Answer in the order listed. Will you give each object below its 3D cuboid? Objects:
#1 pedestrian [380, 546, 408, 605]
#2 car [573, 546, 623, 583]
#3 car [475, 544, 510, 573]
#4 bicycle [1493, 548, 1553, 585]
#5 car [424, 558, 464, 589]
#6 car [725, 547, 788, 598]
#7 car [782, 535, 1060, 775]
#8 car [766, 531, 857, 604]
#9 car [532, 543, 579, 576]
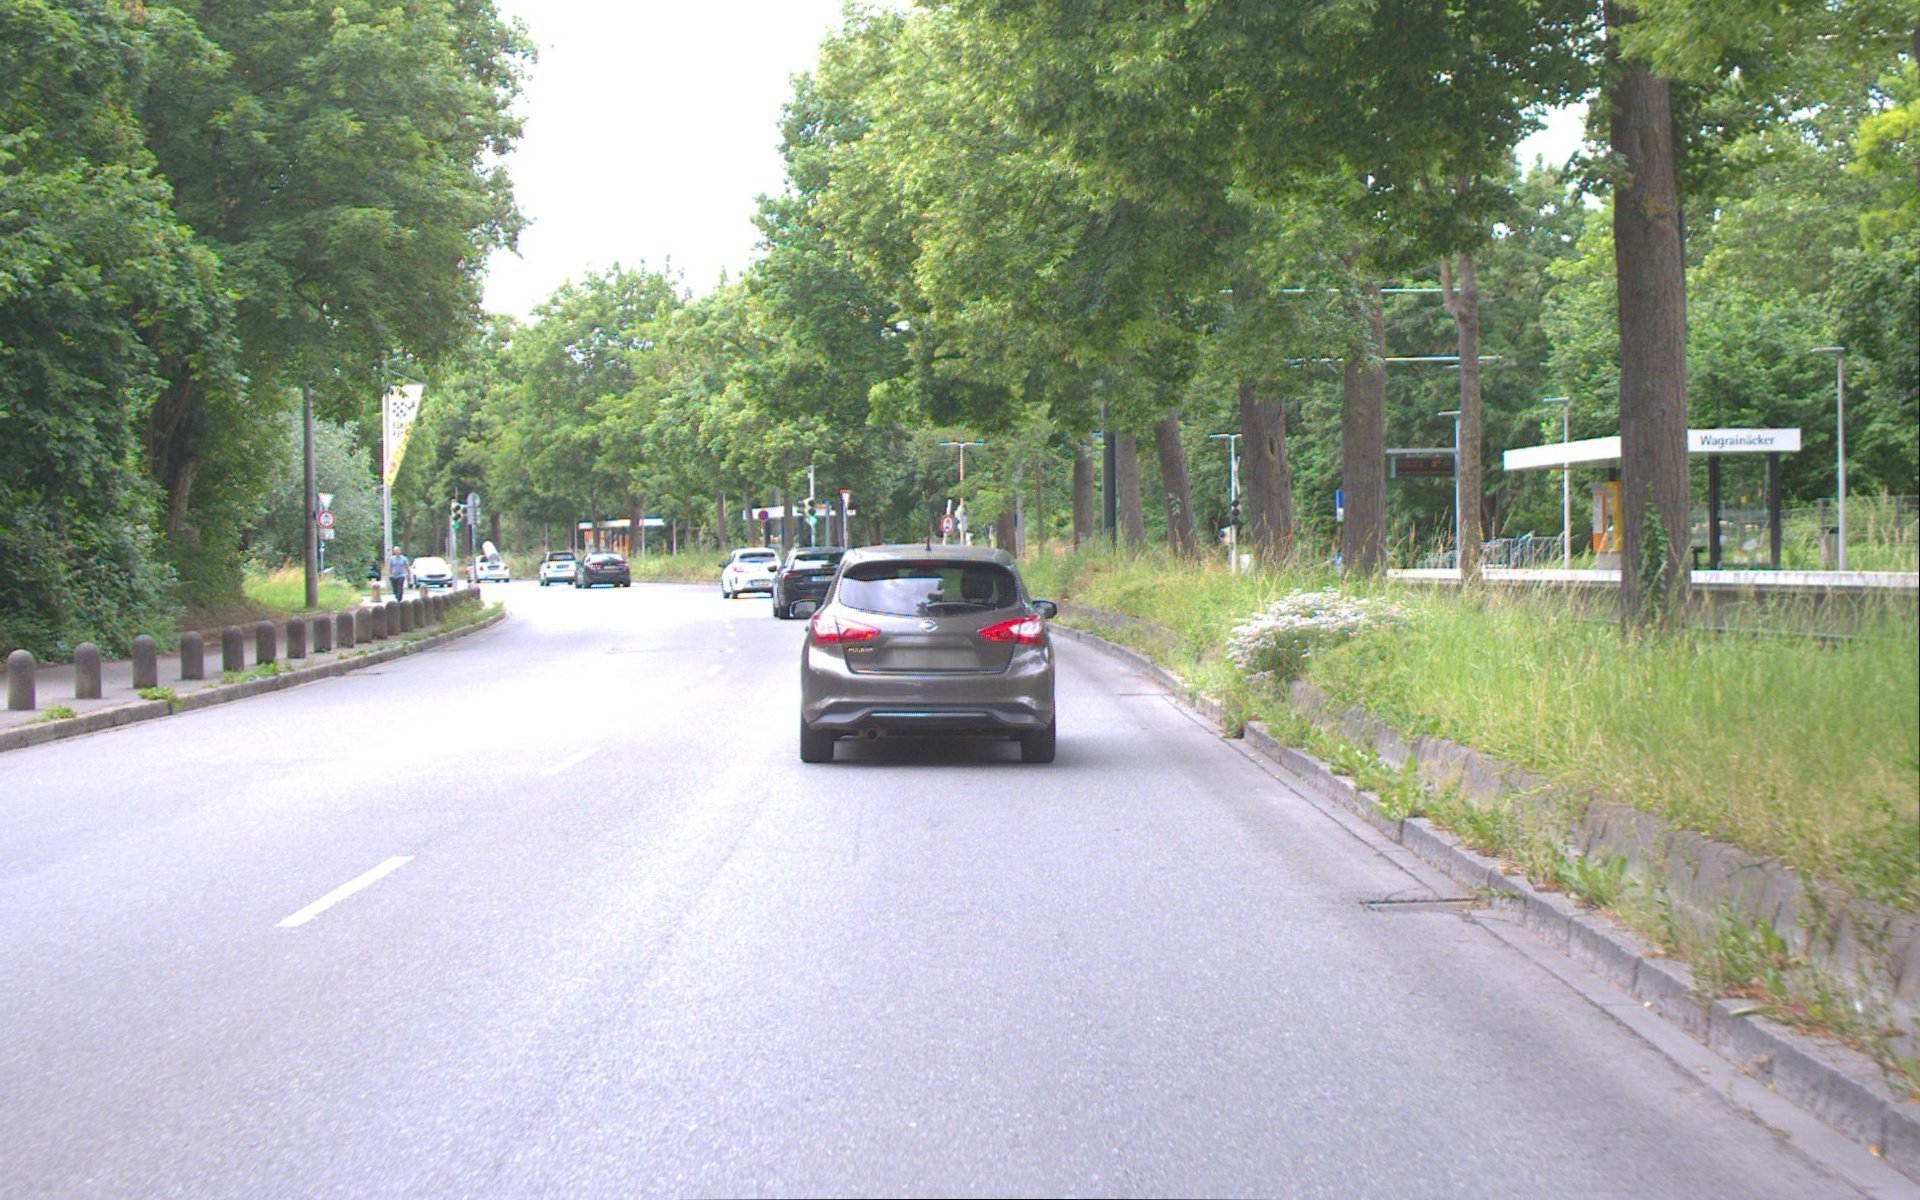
[{"bbox_3d":[-15.600,-0.678,94.709,0.689,1.628,0.838,1,0,-6],"label":"pedestrian"},{"bbox_3d":[-14.708,-1.435,139.702,1.775,1.467,4.001,0,1,-9],"label":"car"},{"bbox_3d":[-24.287,-2.171,178.628,1.775,1.467,4.001,1,1,-8],"label":"car"},{"bbox_3d":[15.064,-0.885,91.996,1.508,0.970,0.450,1,0,-8],"label":"bicycle"},{"bbox_3d":[-25.058,-1.305,166.886,1.773,1.434,4.362,-2,1,-7],"label":"car"},{"bbox_3d":[-6.113,-0.832,102.800,1.775,1.467,4.001,1,1,-5],"label":"car"},{"bbox_3d":[-0.269,0.330,24.965,1.816,1.503,4.000,-2,2,0],"label":"car"},{"bbox_3d":[-3.064,-0.675,71.569,1.776,1.467,4.000,1,1,-1],"label":"car"},{"bbox_3d":[-18.319,-1.841,155.607,1.775,1.467,4.001,0,1,-11],"label":"car"}]
